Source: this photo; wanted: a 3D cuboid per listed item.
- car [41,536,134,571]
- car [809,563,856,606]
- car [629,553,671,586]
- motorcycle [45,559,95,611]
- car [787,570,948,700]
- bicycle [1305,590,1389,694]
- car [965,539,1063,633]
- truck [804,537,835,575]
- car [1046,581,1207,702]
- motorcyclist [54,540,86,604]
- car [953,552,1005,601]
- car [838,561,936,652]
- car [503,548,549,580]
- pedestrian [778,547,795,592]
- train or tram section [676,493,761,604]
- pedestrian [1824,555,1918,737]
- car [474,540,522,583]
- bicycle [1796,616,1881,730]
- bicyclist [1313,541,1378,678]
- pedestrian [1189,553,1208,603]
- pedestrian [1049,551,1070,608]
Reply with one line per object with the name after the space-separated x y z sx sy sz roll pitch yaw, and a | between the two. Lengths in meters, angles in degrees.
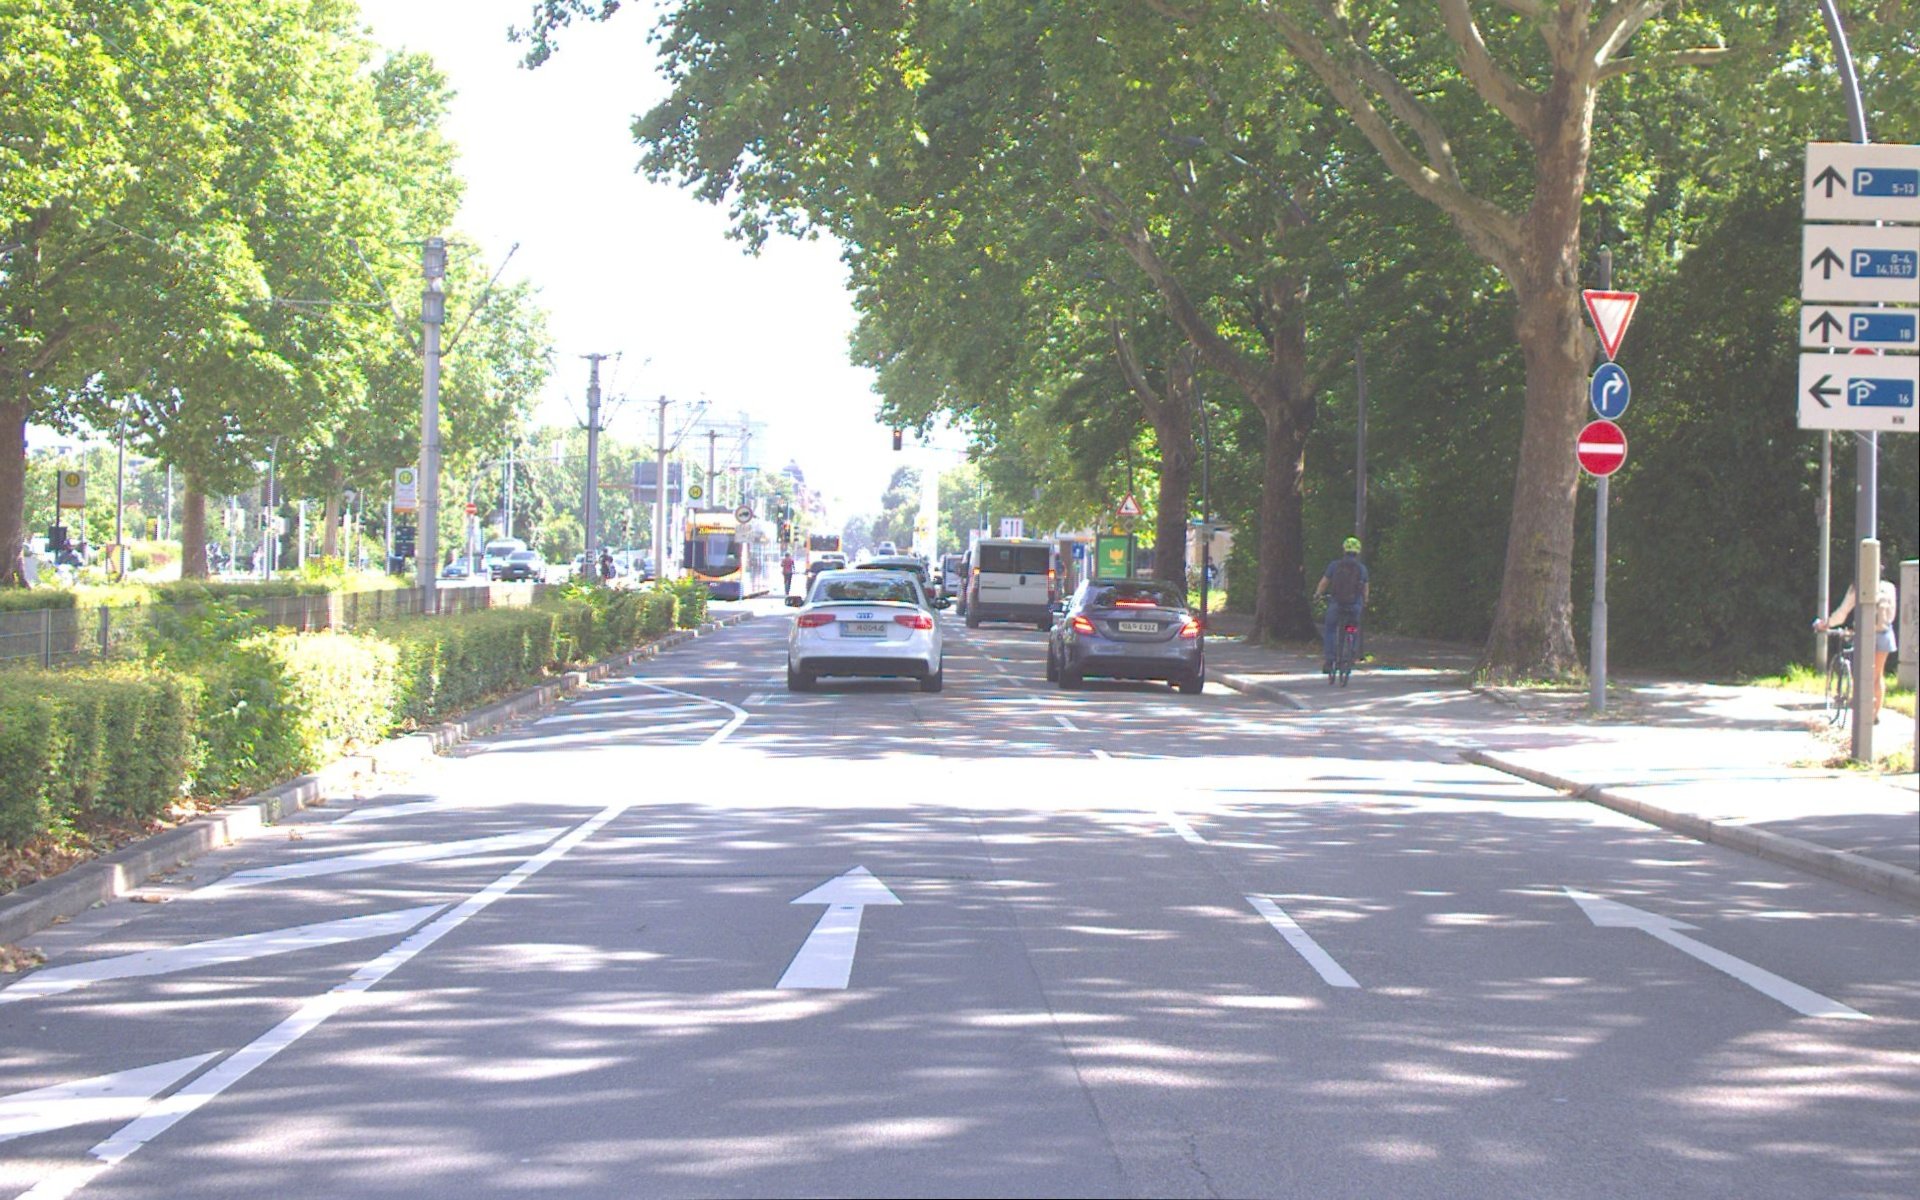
-40.913 -2.185 161.232 3.847 1.543 1.769 2 0 0 | car
-5.090 -0.634 137.918 1.729 1.625 4.000 2 1 -1 | car
-17.161 -1.706 190.445 1.993 1.728 4.000 2 1 0 | car
-20.662 -0.352 79.814 0.632 1.171 2.000 2 1 -1 | motorcycle
-1.072 0.377 40.830 1.784 1.416 3.885 2 1 -1 | car
4.775 0.498 42.548 0.714 1.144 2.179 -1 3 -2 | bicycle
1.293 -0.360 84.633 2.230 2.204 4.162 2 1 -1 | car
-10.596 -3.326 260.087 1.993 2.780 8.519 2 1 0 | truck
2.104 0.499 44.371 1.782 1.415 4.000 2 1 -1 | car
-20.664 -0.651 79.815 0.581 1.452 0.533 2 1 -1 | motorcyclist
0.786 -1.005 145.002 2.072 1.992 4.058 2 1 -1 | car
-1.349 0.095 64.409 1.729 1.599 3.885 2 1 -1 | car
-22.750 -1.889 180.306 1.830 1.619 4.897 2 1 -1 | car
-7.572 -1.332 150.155 0.624 1.911 0.690 2 0 0 | pedestrian
-9.174 -1.946 131.291 2.616 4.001 7.749 2 1 0 | train or tram section
9.127 0.451 34.462 0.632 1.779 0.874 2 0 -1 | pedestrian
-26.109 -2.181 194.425 2.114 2.374 4.000 1 1 0 | car
8.749 0.714 34.271 0.349 1.078 1.699 2 1 -1 | bicycle
4.760 0.111 42.491 0.634 1.642 0.979 -1 2 -2 | bicyclist
9.041 -0.837 130.514 0.613 1.890 0.597 1 0 -4 | pedestrian
3.441 -0.719 118.430 0.635 1.939 0.719 2 0 0 | pedestrian
